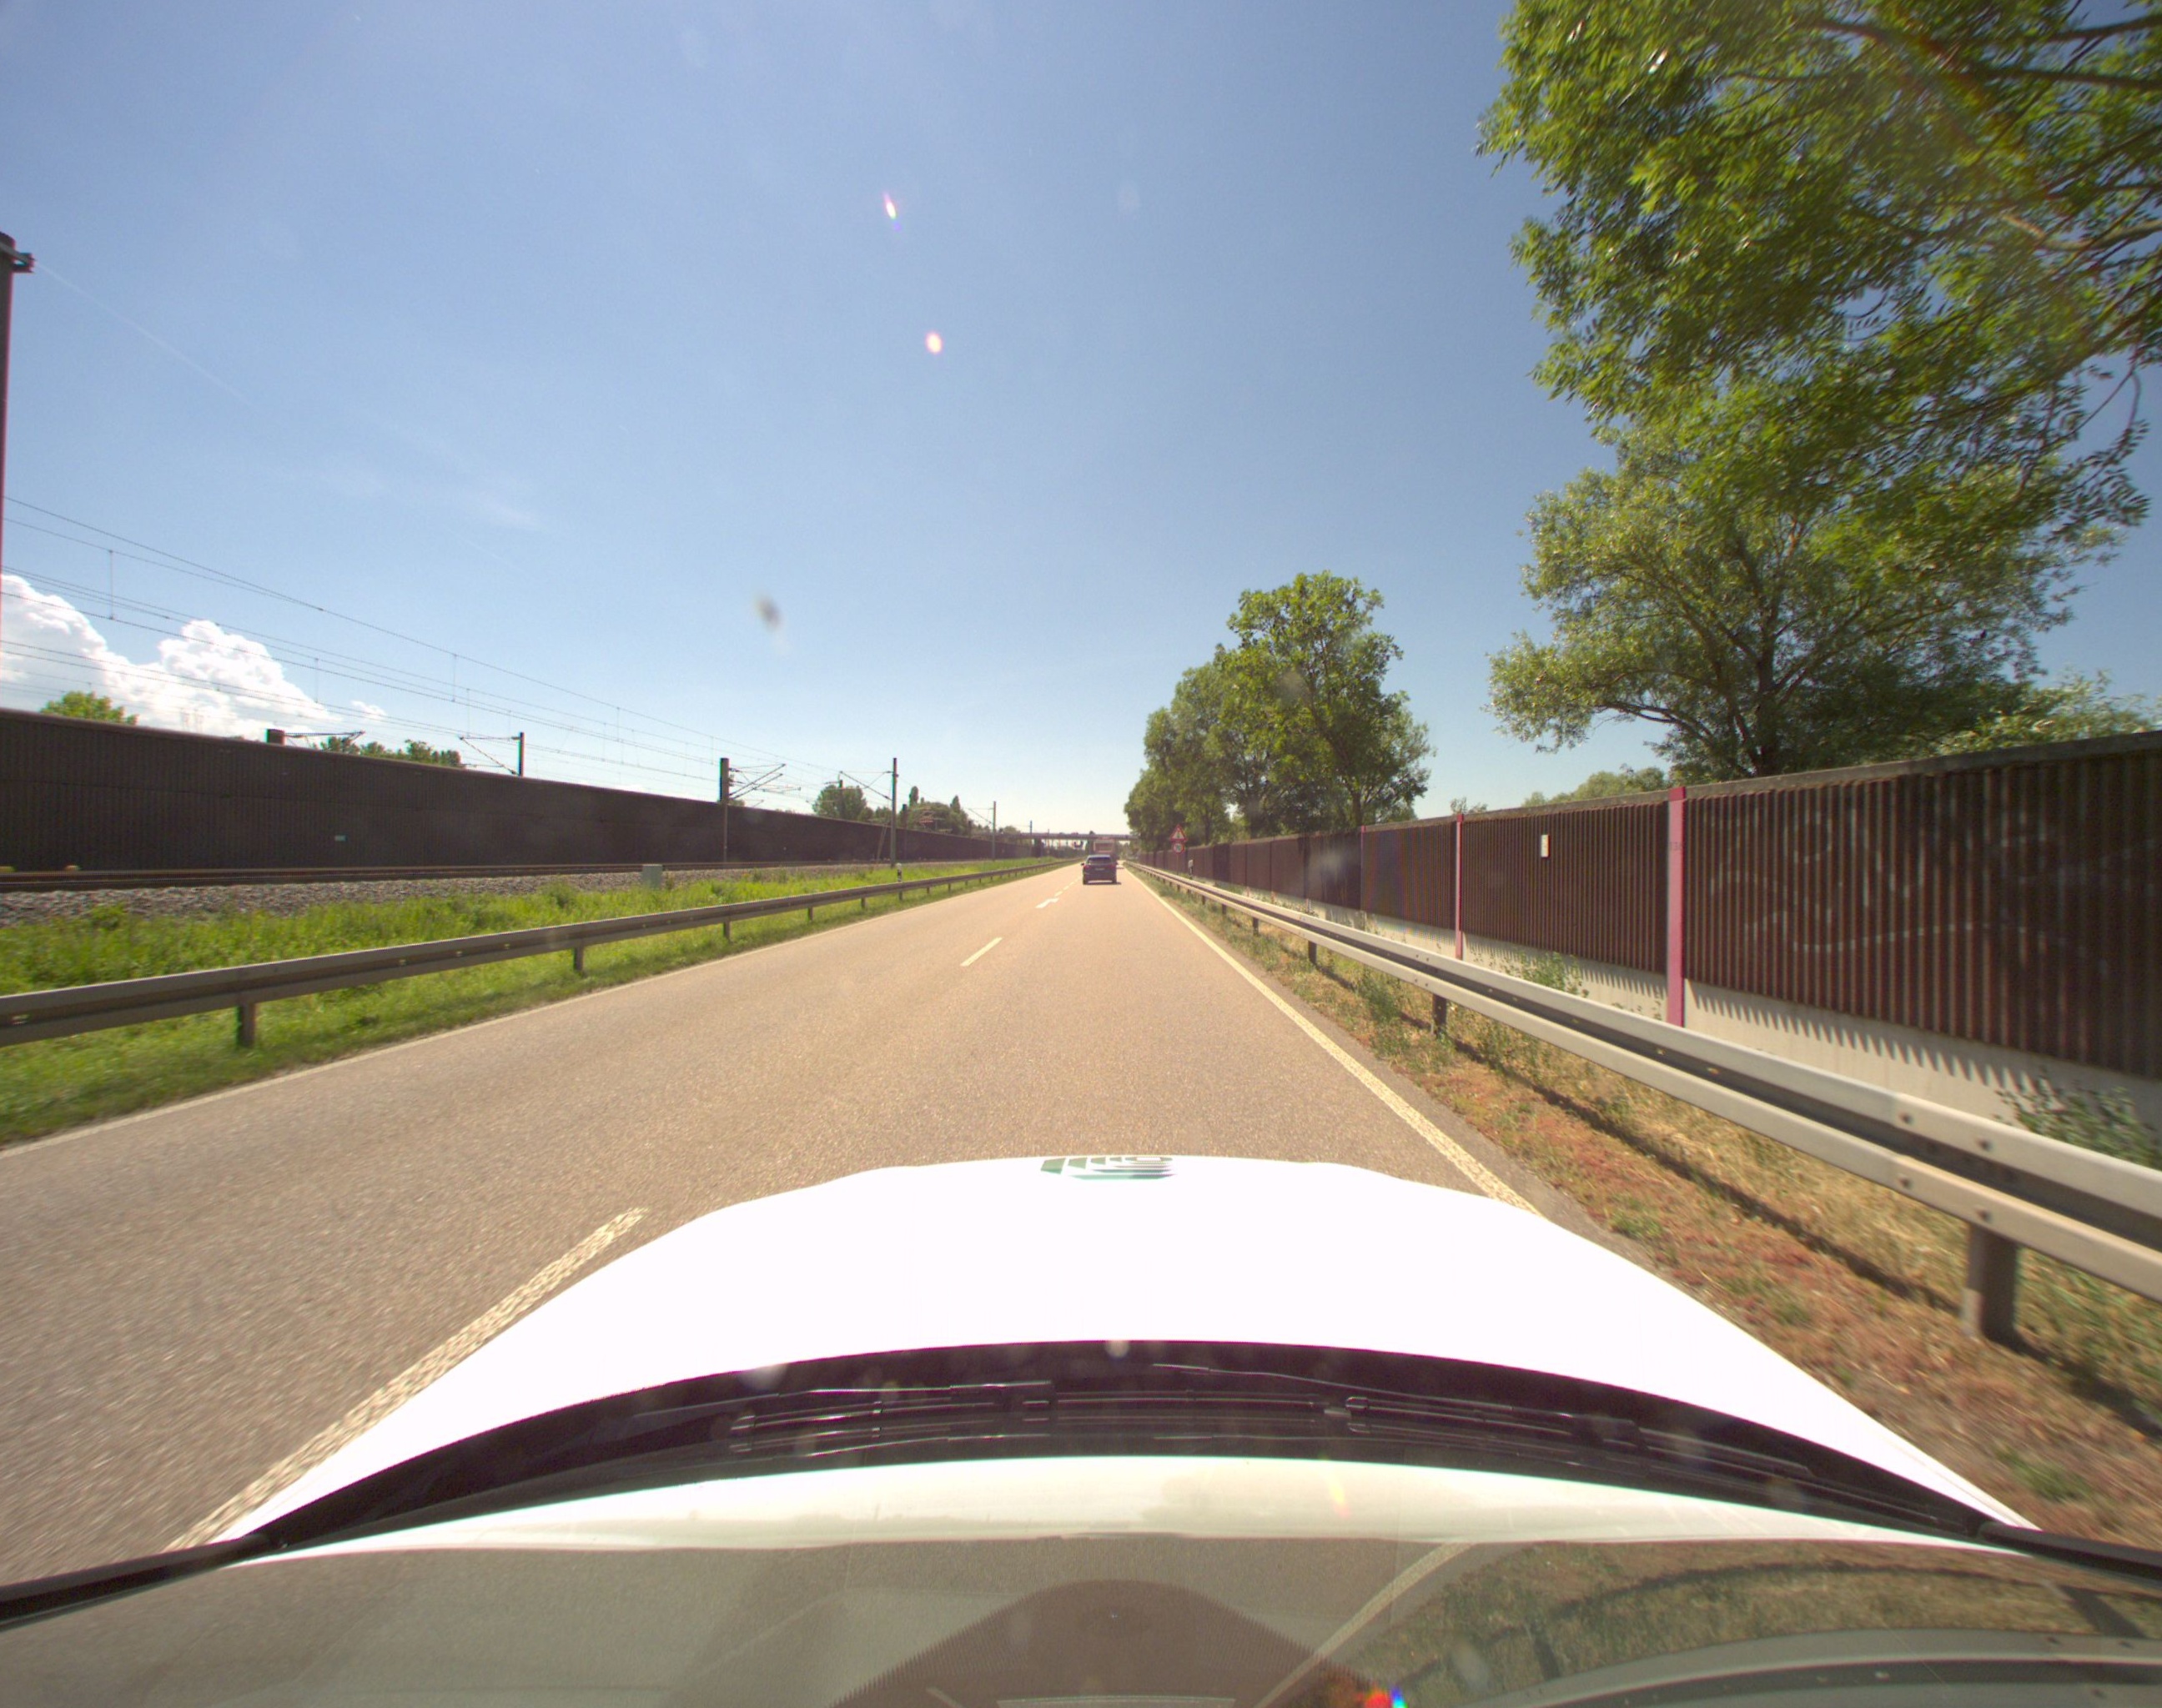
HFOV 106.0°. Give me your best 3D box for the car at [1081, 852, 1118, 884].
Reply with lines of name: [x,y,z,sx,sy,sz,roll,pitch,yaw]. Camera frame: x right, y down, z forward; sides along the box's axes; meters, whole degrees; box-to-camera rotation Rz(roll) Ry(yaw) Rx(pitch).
car: [1.036,0.741,44.432,1.837,1.623,4.230,0,0,4]

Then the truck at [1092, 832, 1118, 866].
truck: [2.925,-0.560,97.627,2.822,3.821,11.893,0,0,3]
